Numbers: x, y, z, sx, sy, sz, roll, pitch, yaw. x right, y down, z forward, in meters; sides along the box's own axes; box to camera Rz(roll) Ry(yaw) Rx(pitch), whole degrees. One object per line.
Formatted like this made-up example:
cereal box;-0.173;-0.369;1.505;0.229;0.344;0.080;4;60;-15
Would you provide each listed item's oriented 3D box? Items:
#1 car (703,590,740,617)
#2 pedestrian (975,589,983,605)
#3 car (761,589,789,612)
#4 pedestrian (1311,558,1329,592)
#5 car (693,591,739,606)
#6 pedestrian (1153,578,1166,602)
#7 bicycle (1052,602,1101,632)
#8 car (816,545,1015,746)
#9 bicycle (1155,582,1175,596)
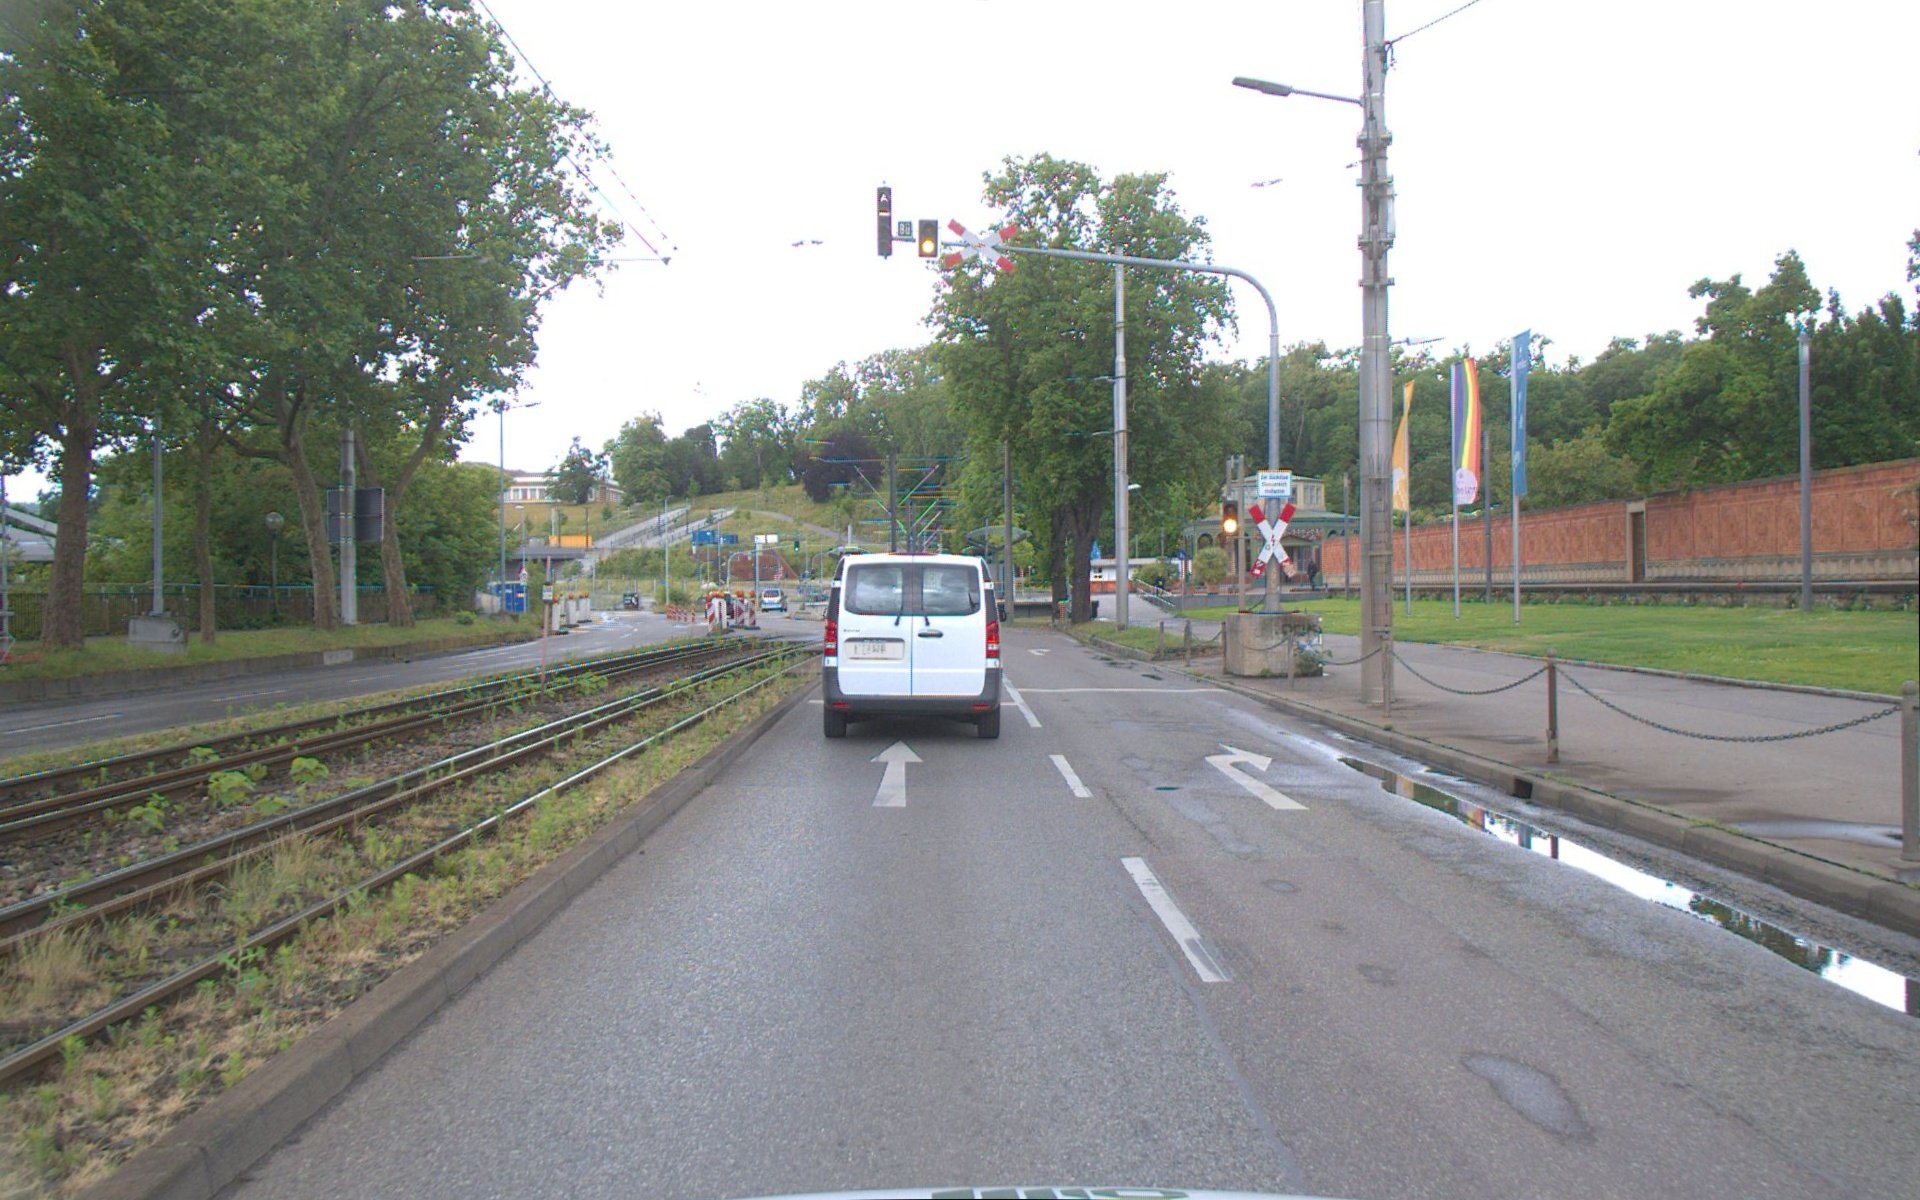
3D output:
car;-13.669;0.189;94.764;1.806;1.493;4.049;0;0;-12
pedestrian;1.474;-0.200;127.267;0.644;1.212;0.676;1;-1;1
car;-14.923;0.077;133.488;1.716;1.803;4.000;1;0;1
pedestrian;19.852;-1.375;91.153;0.929;1.870;0.550;1;-1;7
car;-27.042;-0.165;183.597;4.608;1.503;2.002;-2;1;10
pedestrian;10.571;-0.536;87.584;0.537;1.222;0.668;1;-1;-7
bicycle;4.798;0.712;68.138;1.949;1.178;0.741;-1;0;4
car;-0.472;0.446;18.249;1.919;1.937;4.460;0;0;-1
bicycle;15.666;-0.825;126.547;0.556;1.080;1.698;1;-1;-30
